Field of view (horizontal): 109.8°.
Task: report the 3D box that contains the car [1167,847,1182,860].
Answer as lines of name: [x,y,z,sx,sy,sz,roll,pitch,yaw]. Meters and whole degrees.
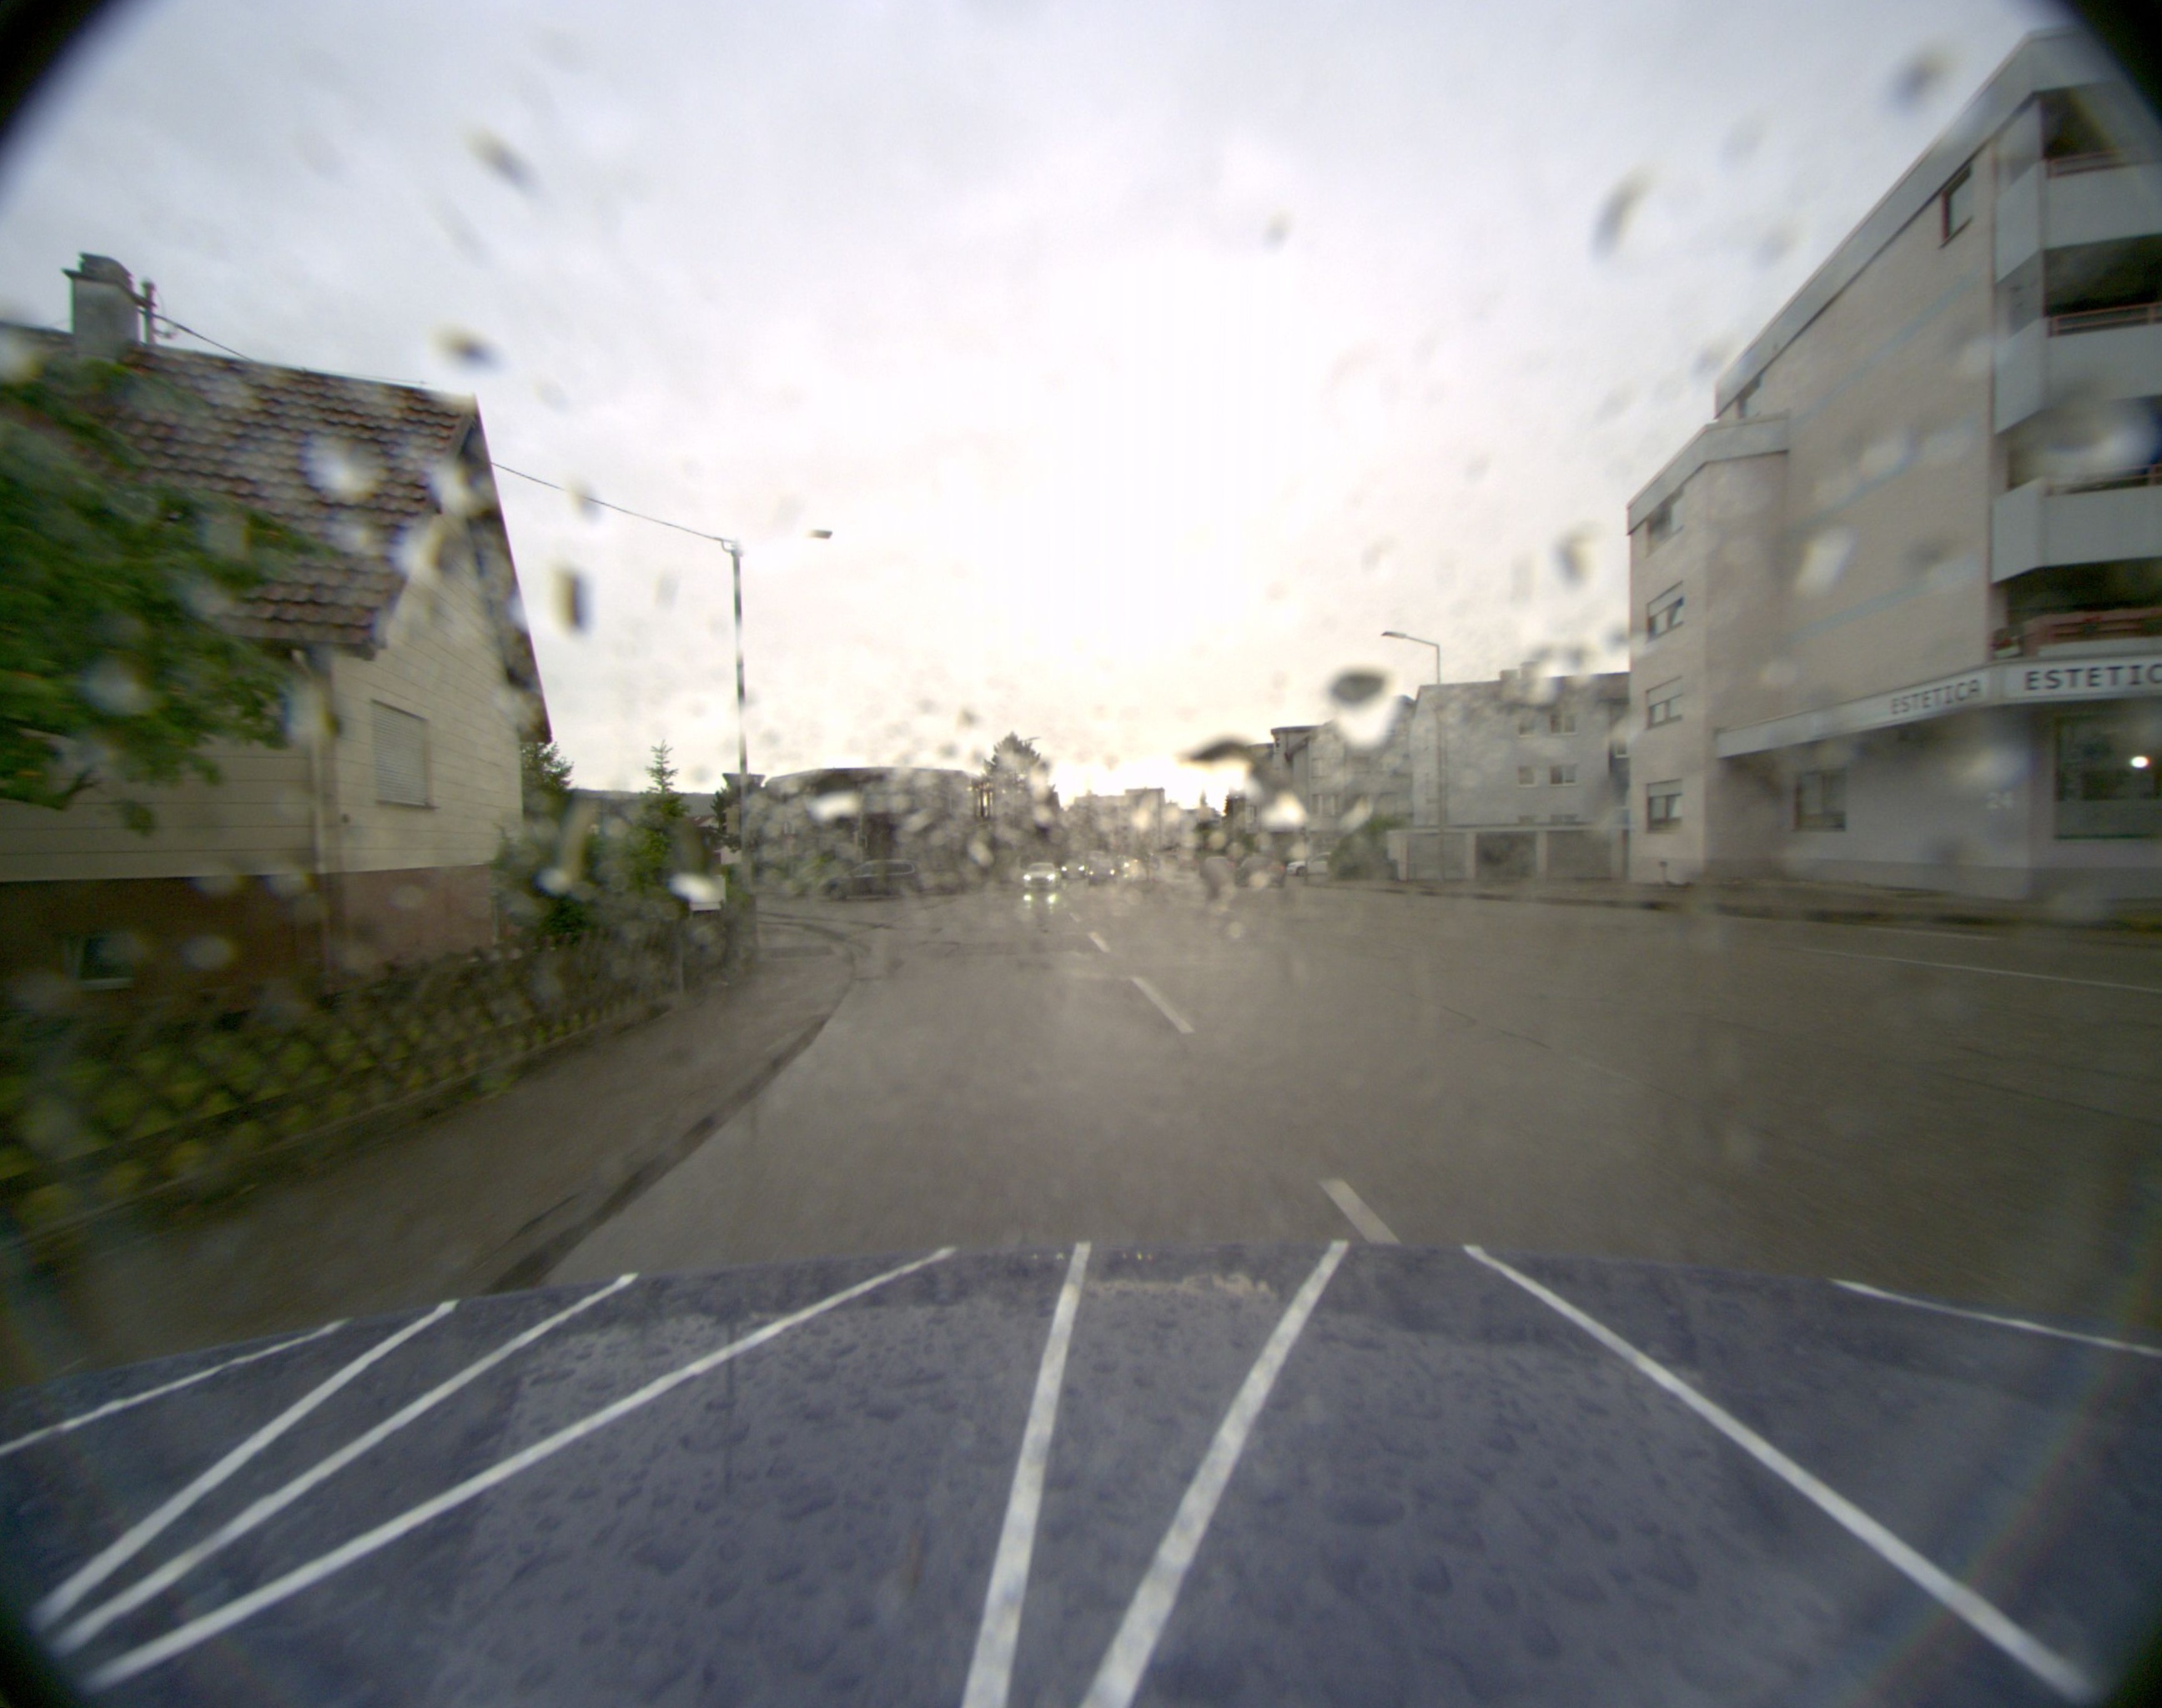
car: [13.902,-0.102,113.285,2.101,1.822,4.736,-2,0,8]

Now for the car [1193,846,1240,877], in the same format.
car: [9.502,0.526,53.758,2.095,2.002,5.979,-3,0,-1]

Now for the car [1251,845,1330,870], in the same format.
car: [15.406,0.266,56.183,5.471,1.674,2.150,-2,0,12]

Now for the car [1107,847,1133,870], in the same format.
car: [3.611,0.373,69.887,1.997,2.002,4.003,-2,0,9]

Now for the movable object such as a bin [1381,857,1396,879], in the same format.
movable object such as a bin: [14.469,0.656,35.722,0.500,0.955,0.535,-5,1,15]

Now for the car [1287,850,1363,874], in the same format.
car: [16.252,0.549,50.776,4.619,1.488,1.931,-1,1,10]

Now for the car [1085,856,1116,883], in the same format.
car: [1.191,0.907,46.043,1.651,1.547,3.352,-2,0,4]

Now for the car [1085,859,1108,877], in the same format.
car: [1.697,1.502,81.878,1.997,1.849,4.002,0,1,7]

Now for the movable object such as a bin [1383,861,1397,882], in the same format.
movable object such as a bin: [14.104,0.790,34.660,0.499,0.955,0.602,-1,0,15]

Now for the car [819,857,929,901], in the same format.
car: [-9.307,1.076,34.558,4.649,1.739,1.998,-2,1,-12]

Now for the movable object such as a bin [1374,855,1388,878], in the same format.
movable object such as a bin: [14.820,0.614,37.516,0.500,1.013,0.688,-5,1,16]

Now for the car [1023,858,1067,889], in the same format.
car: [-1.831,1.004,40.079,1.829,1.431,4.345,-2,0,3]

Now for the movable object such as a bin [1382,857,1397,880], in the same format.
movable object such as a bin: [14.296,0.671,35.202,0.500,0.955,0.535,-5,1,15]

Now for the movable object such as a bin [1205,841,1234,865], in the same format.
movable object such as a bin: [16.656,-0.158,91.353,2.921,2.825,2.200,-1,0,21]

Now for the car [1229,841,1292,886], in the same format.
car: [8.754,0.429,37.474,1.998,2.002,4.652,-2,0,1]

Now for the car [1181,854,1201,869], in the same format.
car: [11.340,0.767,78.454,1.792,1.463,4.164,-2,0,5]

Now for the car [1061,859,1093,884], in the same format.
car: [-0.272,1.314,59.567,1.997,1.849,4.002,0,1,7]
